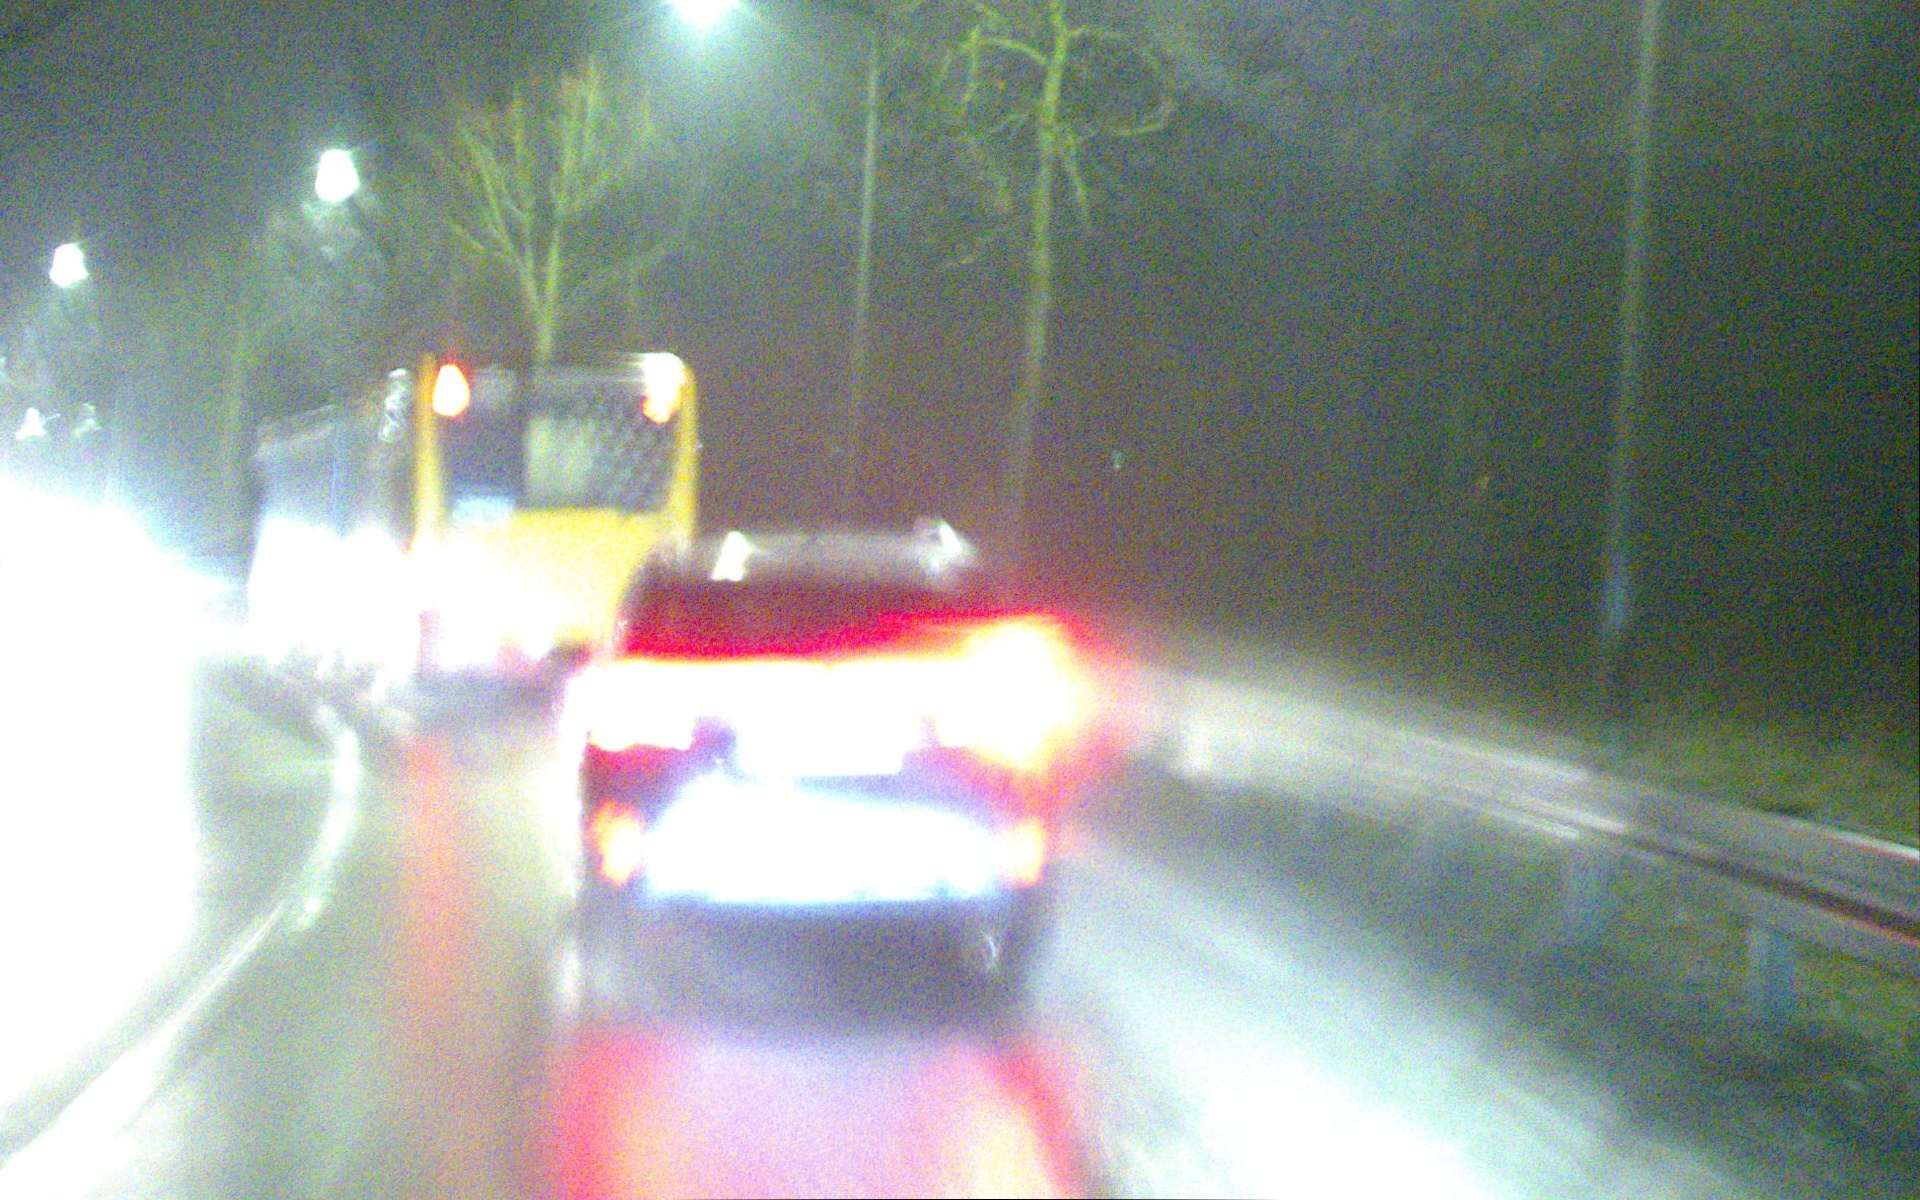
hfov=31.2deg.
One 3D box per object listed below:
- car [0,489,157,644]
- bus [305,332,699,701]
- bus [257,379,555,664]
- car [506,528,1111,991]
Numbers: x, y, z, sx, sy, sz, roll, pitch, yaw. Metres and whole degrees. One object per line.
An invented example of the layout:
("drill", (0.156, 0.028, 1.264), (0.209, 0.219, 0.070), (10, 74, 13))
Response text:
("car", (-12.293, -0.493, 46.596), (2.448, 1.981, 5.496), (0, 1, -16))
("bus", (-4.832, -0.822, 34.543), (3.042, 3.201, 9.053), (-1, 1, -13))
("bus", (-7.157, -0.979, 43.312), (3.042, 3.201, 9.053), (-1, 1, -13))
("car", (-0.642, 0.493, 13.404), (1.993, 1.519, 4.001), (1, 1, -4))
